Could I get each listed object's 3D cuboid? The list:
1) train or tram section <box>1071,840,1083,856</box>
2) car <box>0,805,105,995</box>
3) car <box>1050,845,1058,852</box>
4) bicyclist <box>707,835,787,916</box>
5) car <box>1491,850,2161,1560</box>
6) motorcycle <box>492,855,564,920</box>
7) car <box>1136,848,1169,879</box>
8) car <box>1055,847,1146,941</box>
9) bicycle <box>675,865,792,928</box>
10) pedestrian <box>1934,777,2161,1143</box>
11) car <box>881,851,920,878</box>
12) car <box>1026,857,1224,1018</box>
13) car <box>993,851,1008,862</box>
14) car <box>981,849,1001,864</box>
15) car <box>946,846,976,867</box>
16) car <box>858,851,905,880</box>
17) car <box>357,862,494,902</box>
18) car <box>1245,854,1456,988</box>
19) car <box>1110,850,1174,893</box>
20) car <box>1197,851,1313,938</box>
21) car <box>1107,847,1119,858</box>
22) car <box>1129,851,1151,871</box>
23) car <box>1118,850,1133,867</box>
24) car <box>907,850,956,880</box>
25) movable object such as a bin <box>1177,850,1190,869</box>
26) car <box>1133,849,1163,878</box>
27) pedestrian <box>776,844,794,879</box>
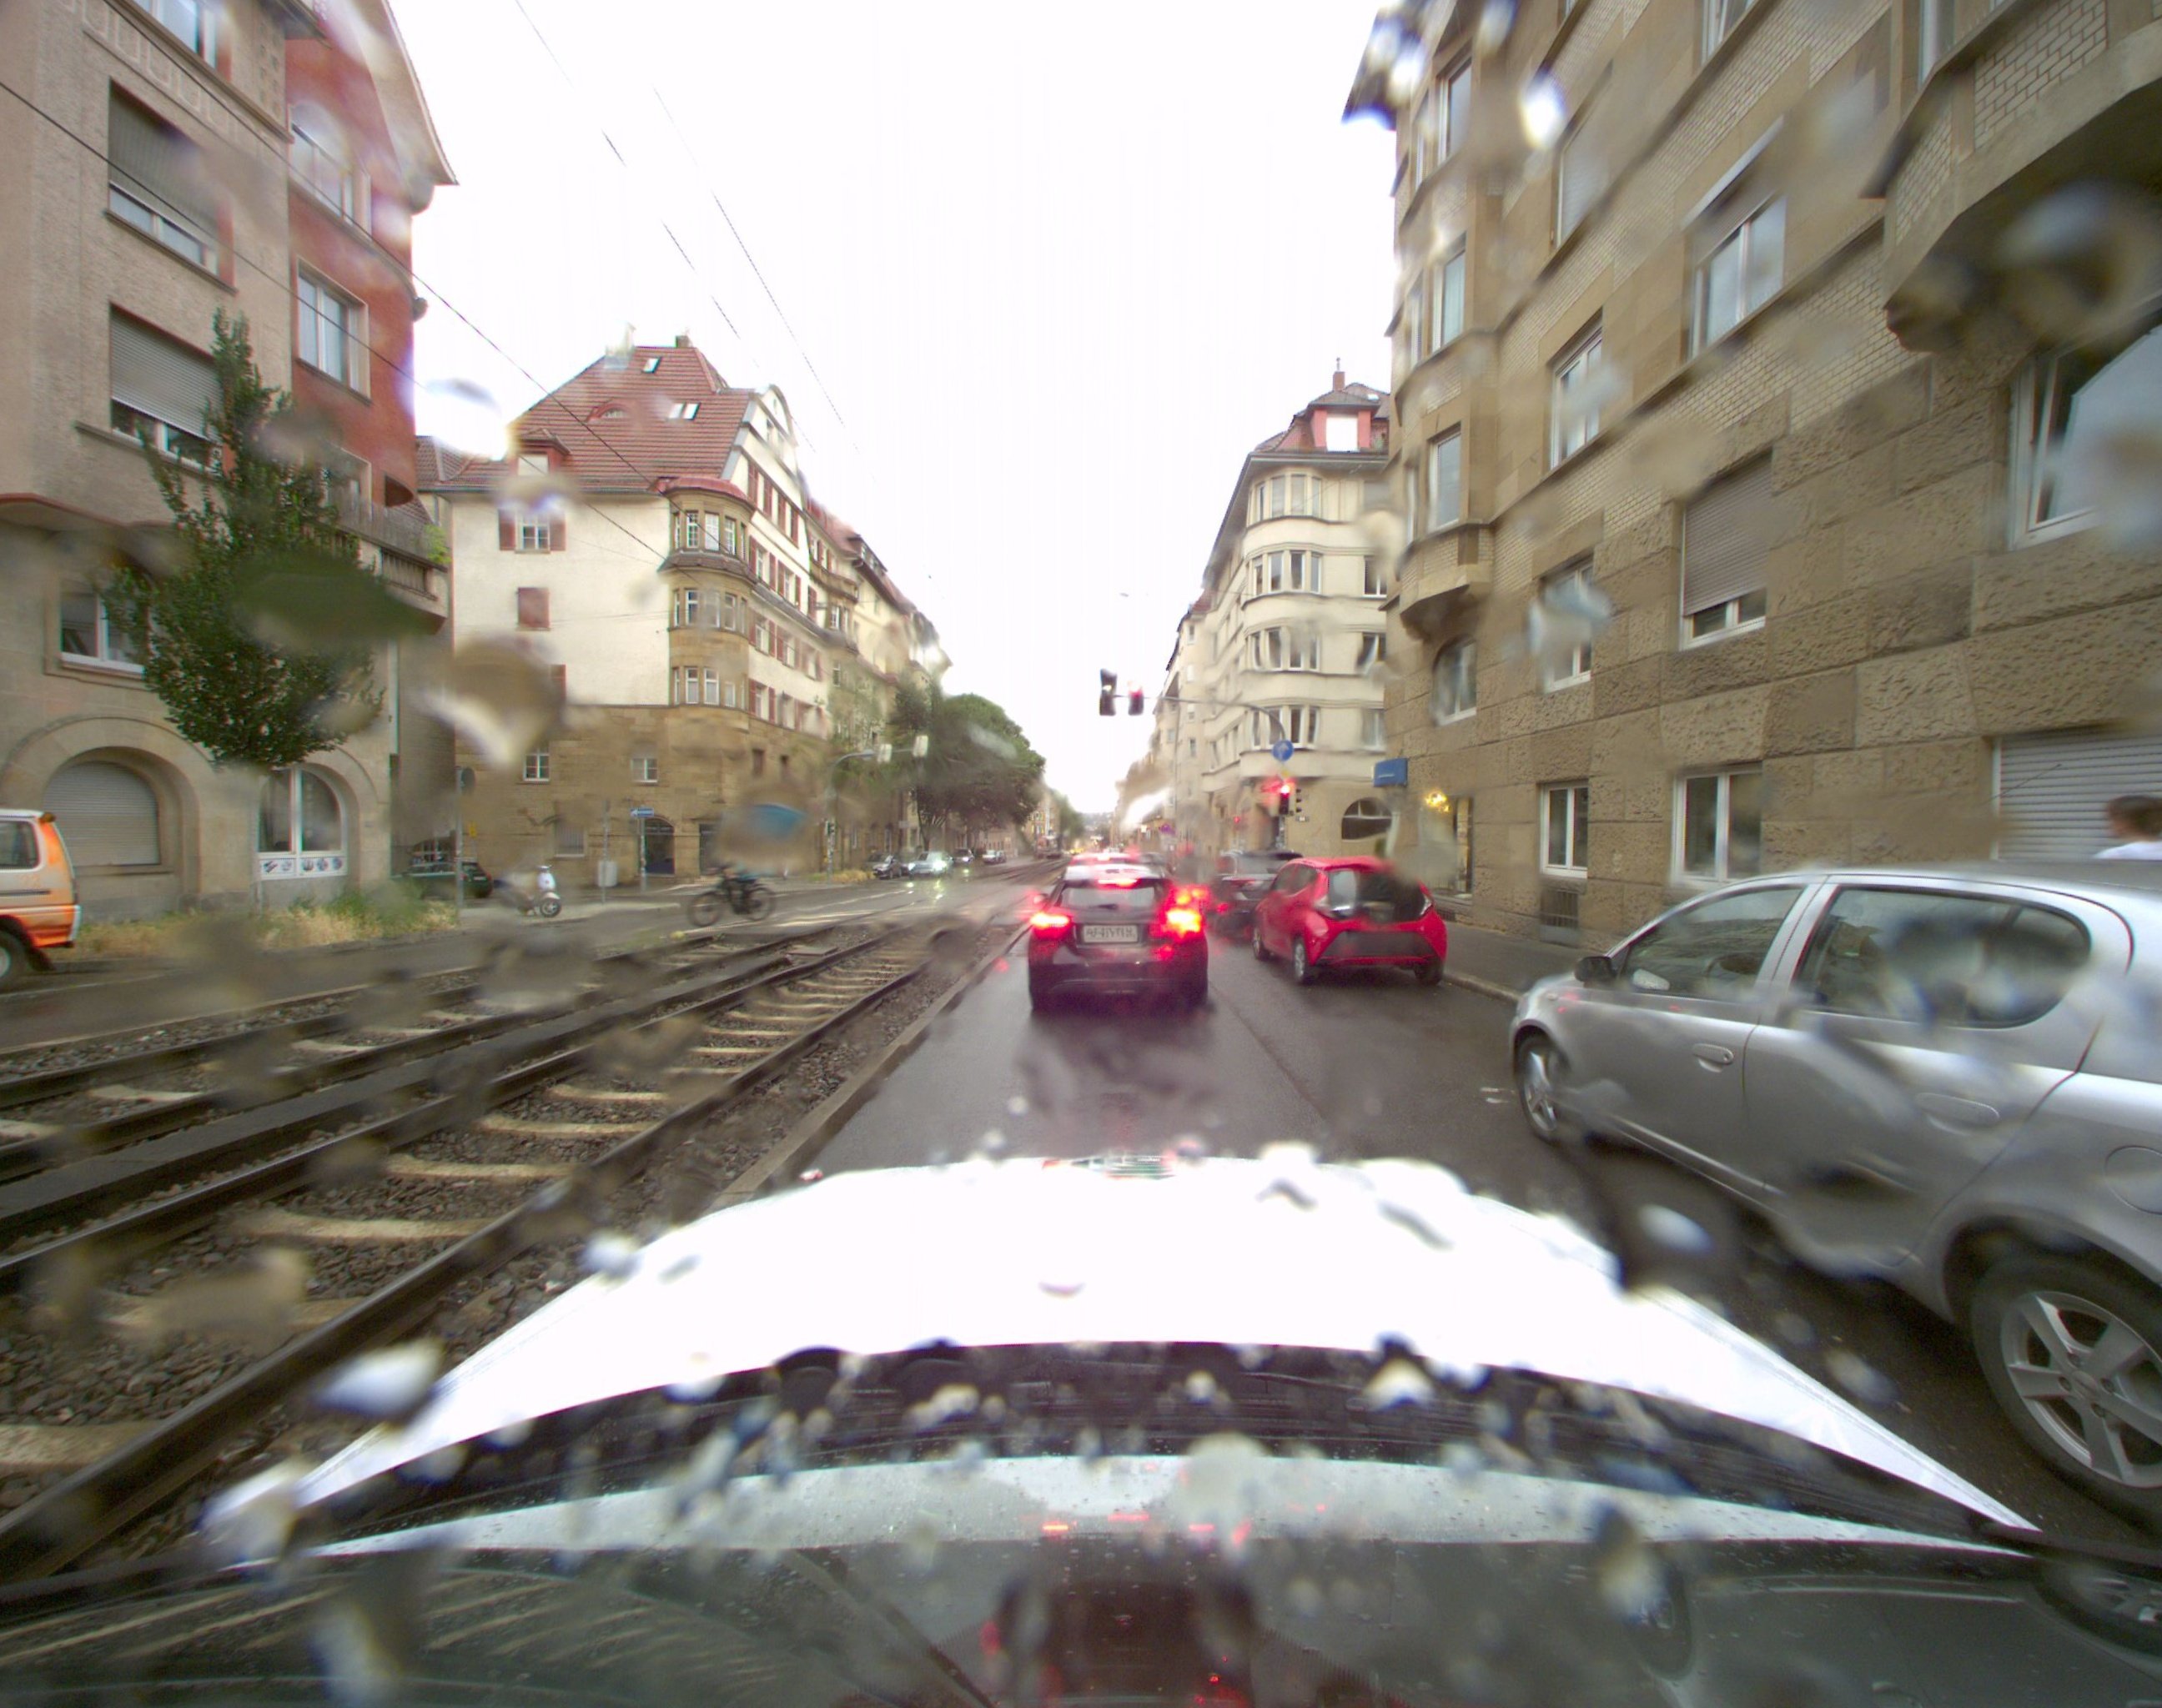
[{"bbox_3d":[-0.982,-1.390,207.021,2.772,3.861,10.433,0,-1,2],"label":"train or tram section"},{"bbox_3d":[-12.122,0.472,7.202,1.725,1.975,4.341,0,-1,0],"label":"car"},{"bbox_3d":[-5.197,-1.003,158.670,1.372,1.249,3.297,0,-1,0],"label":"car"},{"bbox_3d":[-6.860,0.421,16.765,0.876,1.597,1.261,-1,-1,39],"label":"bicyclist"},{"bbox_3d":[3.147,0.740,3.091,1.608,1.467,3.314,-2,0,3],"label":"car"},{"bbox_3d":[-12.065,0.715,17.758,1.577,1.365,0.628,-1,-1,28],"label":"motorcycle"},{"bbox_3d":[3.705,0.483,42.692,1.539,1.590,3.549,0,0,2],"label":"car"},{"bbox_3d":[0.394,0.700,15.950,1.559,1.609,3.815,0,-1,2],"label":"car"},{"bbox_3d":[-7.029,0.819,16.567,0.816,1.186,2.050,-1,-1,40],"label":"bicycle"},{"bbox_3d":[5.534,0.508,4.367,0.739,1.748,1.111,0,-1,2],"label":"pedestrian"},{"bbox_3d":[-11.282,0.651,51.144,1.713,1.611,3.914,0,-1,-3],"label":"car"},{"bbox_3d":[0.467,0.782,9.555,1.822,1.458,4.105,0,0,2],"label":"car"},{"bbox_3d":[-9.789,0.302,99.005,1.443,1.331,3.271,0,-1,0],"label":"car"},{"bbox_3d":[-9.860,0.315,89.589,1.583,1.581,3.920,0,-1,2],"label":"car"},{"bbox_3d":[-10.590,0.221,72.132,1.868,1.737,3.920,0,-1,2],"label":"car"},{"bbox_3d":[-11.251,0.645,46.109,1.747,1.552,4.033,0,-1,-2],"label":"car"},{"bbox_3d":[-24.381,1.018,30.402,3.633,1.404,1.699,0,-1,-3],"label":"car"},{"bbox_3d":[3.278,0.734,10.556,1.637,1.448,3.298,0,0,-1],"label":"car"},{"bbox_3d":[2.413,0.648,33.014,1.547,1.636,3.668,0,0,-14],"label":"car"},{"bbox_3d":[3.244,0.689,15.800,1.539,1.486,3.831,0,0,2],"label":"car"},{"bbox_3d":[5.540,-0.172,142.109,1.986,1.876,4.001,0,-1,2],"label":"car"},{"bbox_3d":[4.420,0.531,61.574,1.539,1.486,3.549,0,0,2],"label":"car"},{"bbox_3d":[4.032,0.407,73.664,1.289,1.442,2.930,0,0,2],"label":"car"},{"bbox_3d":[-8.266,0.585,45.423,1.891,1.588,3.974,0,-1,2],"label":"car"},{"bbox_3d":[7.479,0.424,59.547,0.873,1.389,0.984,-1,-1,5],"label":"movable object such as a bin"},{"bbox_3d":[3.846,0.527,47.167,1.539,1.590,3.549,0,0,2],"label":"car"},{"bbox_3d":[-14.277,0.366,39.308,0.629,1.672,0.702,0,-1,-3],"label":"pedestrian"}]
